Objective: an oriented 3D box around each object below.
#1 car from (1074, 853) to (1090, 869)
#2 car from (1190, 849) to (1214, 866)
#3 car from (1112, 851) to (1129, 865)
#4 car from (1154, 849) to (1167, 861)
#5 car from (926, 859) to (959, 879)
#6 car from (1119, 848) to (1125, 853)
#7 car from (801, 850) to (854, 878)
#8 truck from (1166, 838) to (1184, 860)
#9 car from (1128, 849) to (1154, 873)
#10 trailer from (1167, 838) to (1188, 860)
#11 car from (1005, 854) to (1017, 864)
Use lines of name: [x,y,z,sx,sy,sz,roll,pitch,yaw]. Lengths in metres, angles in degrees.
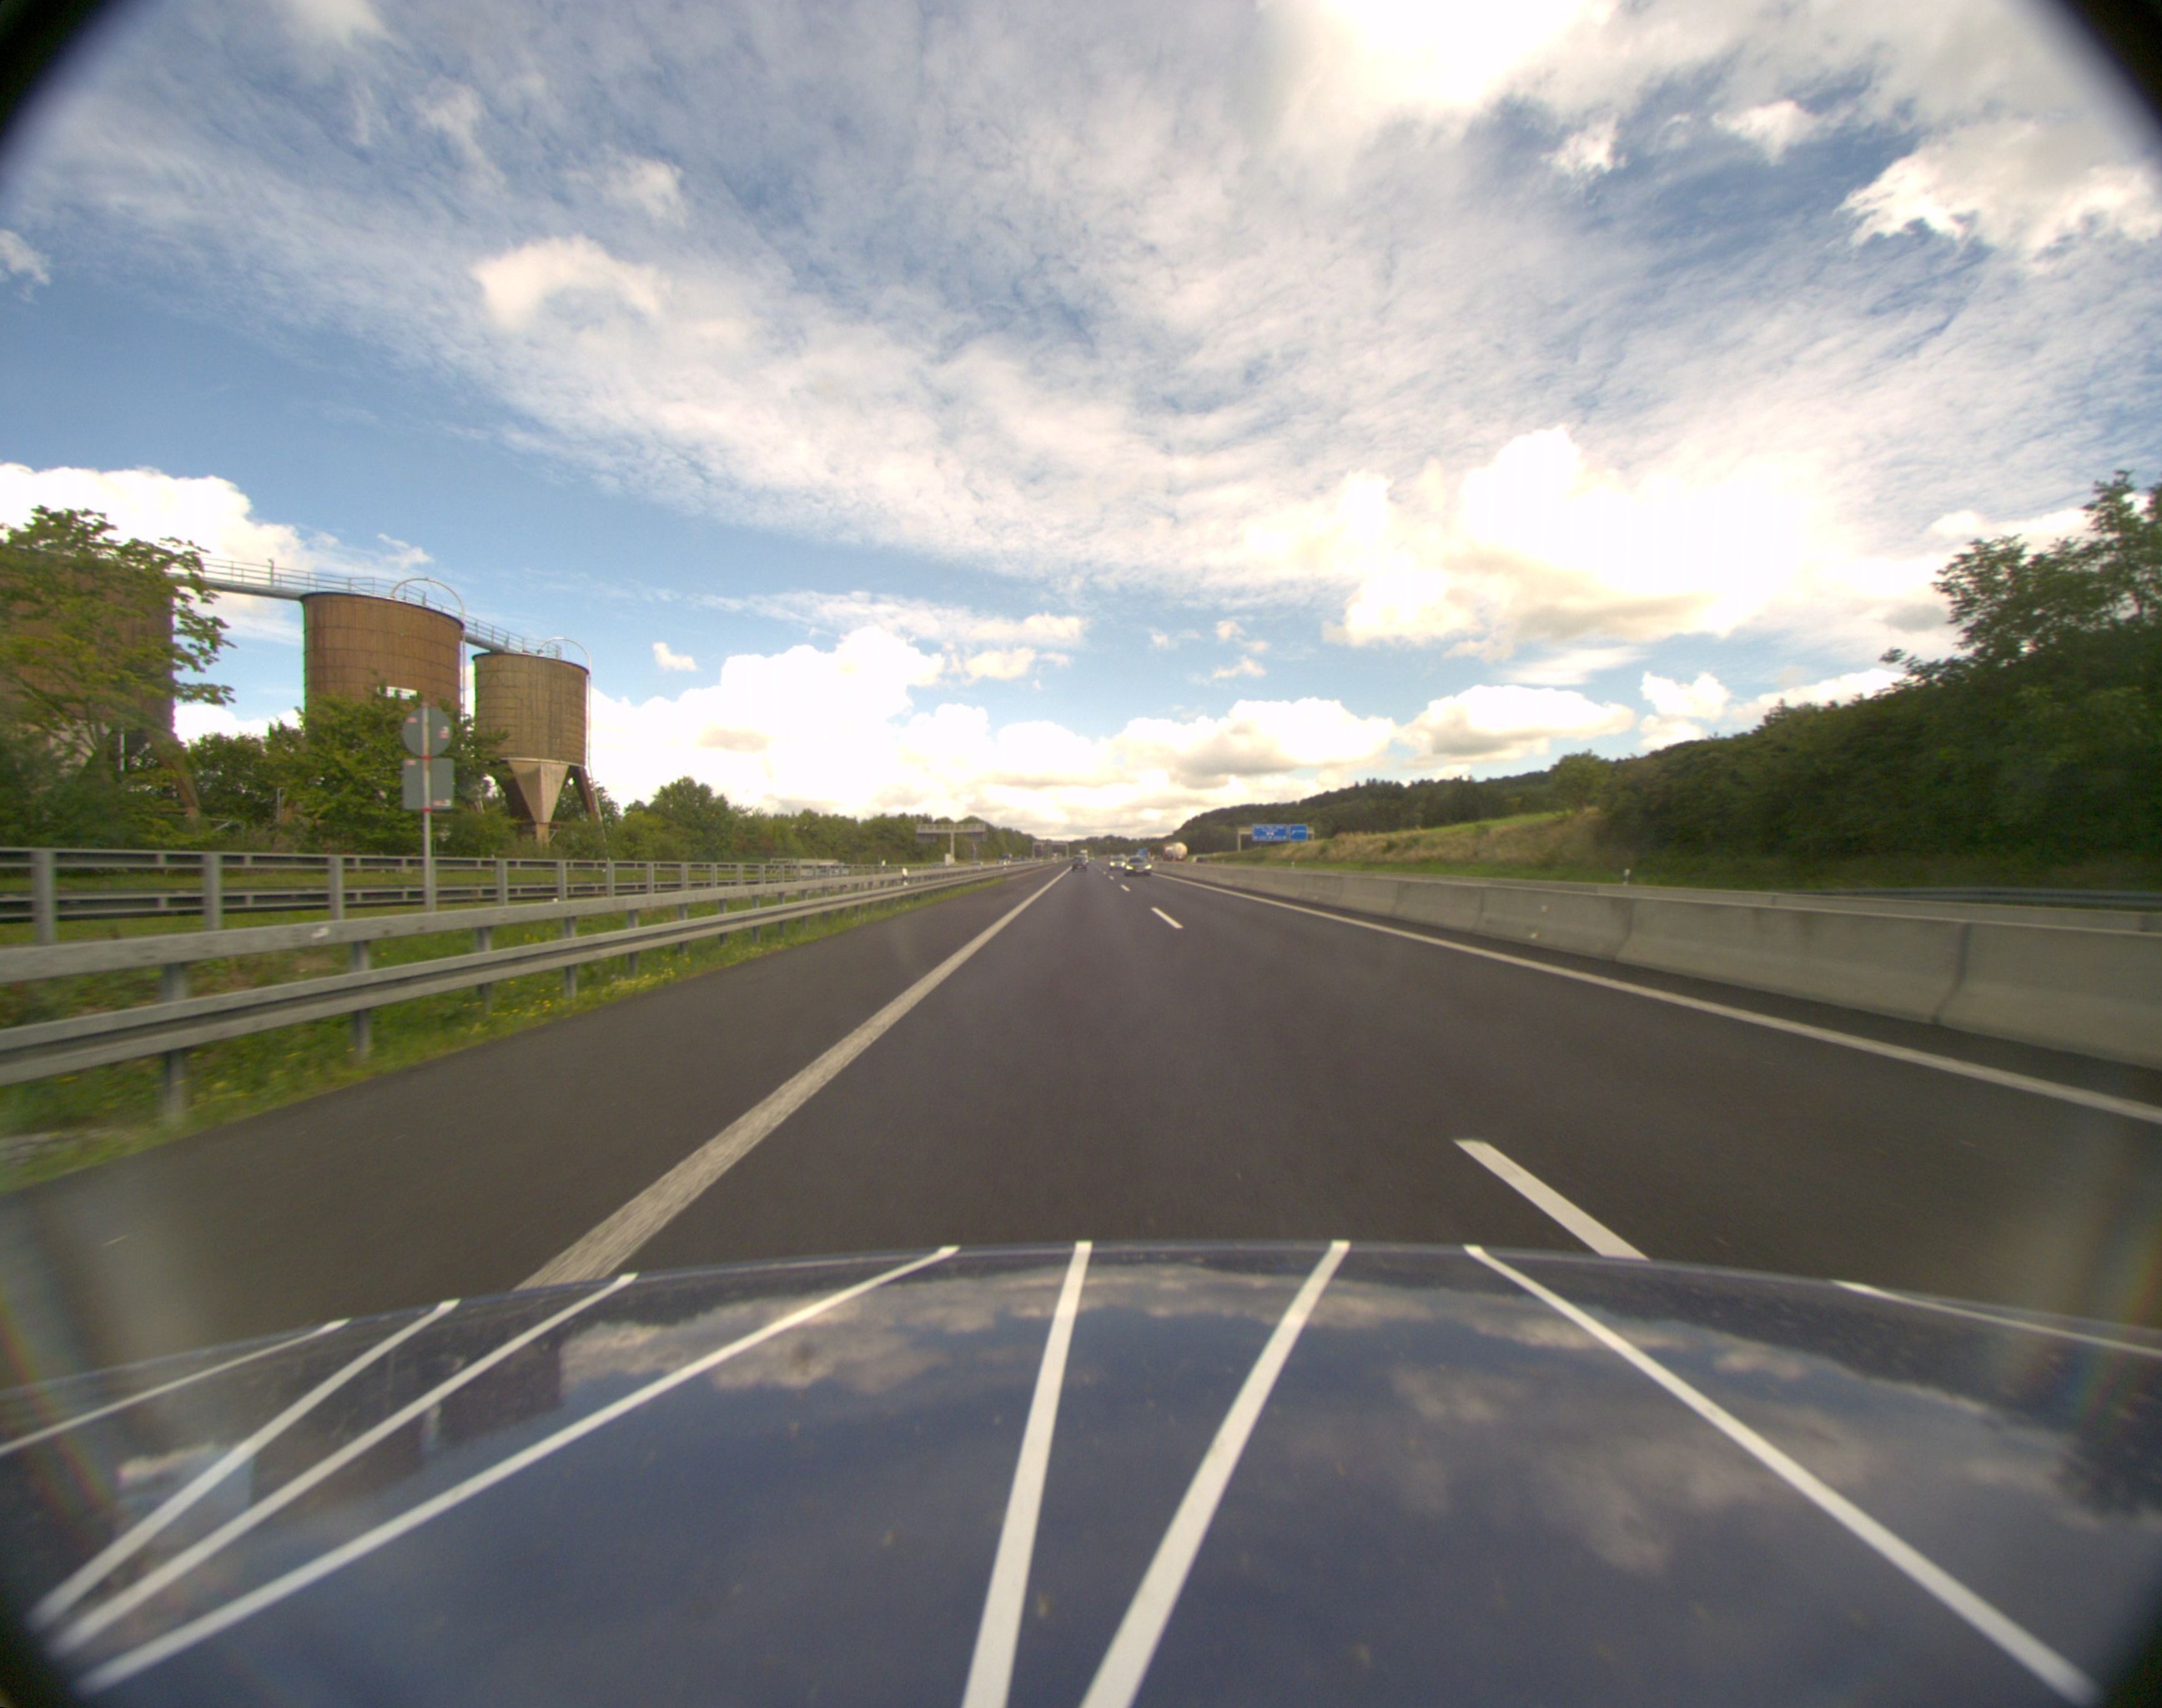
car: [0.144,0.731,83.250,1.670,1.722,4.207,-1,0,2]
car: [12.944,0.341,81.323,1.998,1.707,4.000,0,0,1]
car: [4.361,0.423,84.144,1.724,1.406,3.939,-1,0,2]
car: [13.190,0.154,126.843,1.812,1.821,4.396,0,0,1]
car: [-11.304,1.181,62.176,1.999,1.476,3.999,-1,0,0]
car: [14.323,-1.209,264.640,1.998,2.002,5.841,0,0,1]
car: [-15.936,0.577,47.960,1.998,1.698,4.000,0,0,1]
truck: [17.340,-0.939,140.569,2.744,3.901,6.901,0,1,2]
car: [4.481,0.521,57.299,1.724,1.722,3.939,-1,0,2]
trailer: [17.202,-0.898,136.130,2.720,3.864,11.160,0,0,2]
car: [-14.697,1.027,159.630,1.999,2.173,5.127,-1,0,0]
